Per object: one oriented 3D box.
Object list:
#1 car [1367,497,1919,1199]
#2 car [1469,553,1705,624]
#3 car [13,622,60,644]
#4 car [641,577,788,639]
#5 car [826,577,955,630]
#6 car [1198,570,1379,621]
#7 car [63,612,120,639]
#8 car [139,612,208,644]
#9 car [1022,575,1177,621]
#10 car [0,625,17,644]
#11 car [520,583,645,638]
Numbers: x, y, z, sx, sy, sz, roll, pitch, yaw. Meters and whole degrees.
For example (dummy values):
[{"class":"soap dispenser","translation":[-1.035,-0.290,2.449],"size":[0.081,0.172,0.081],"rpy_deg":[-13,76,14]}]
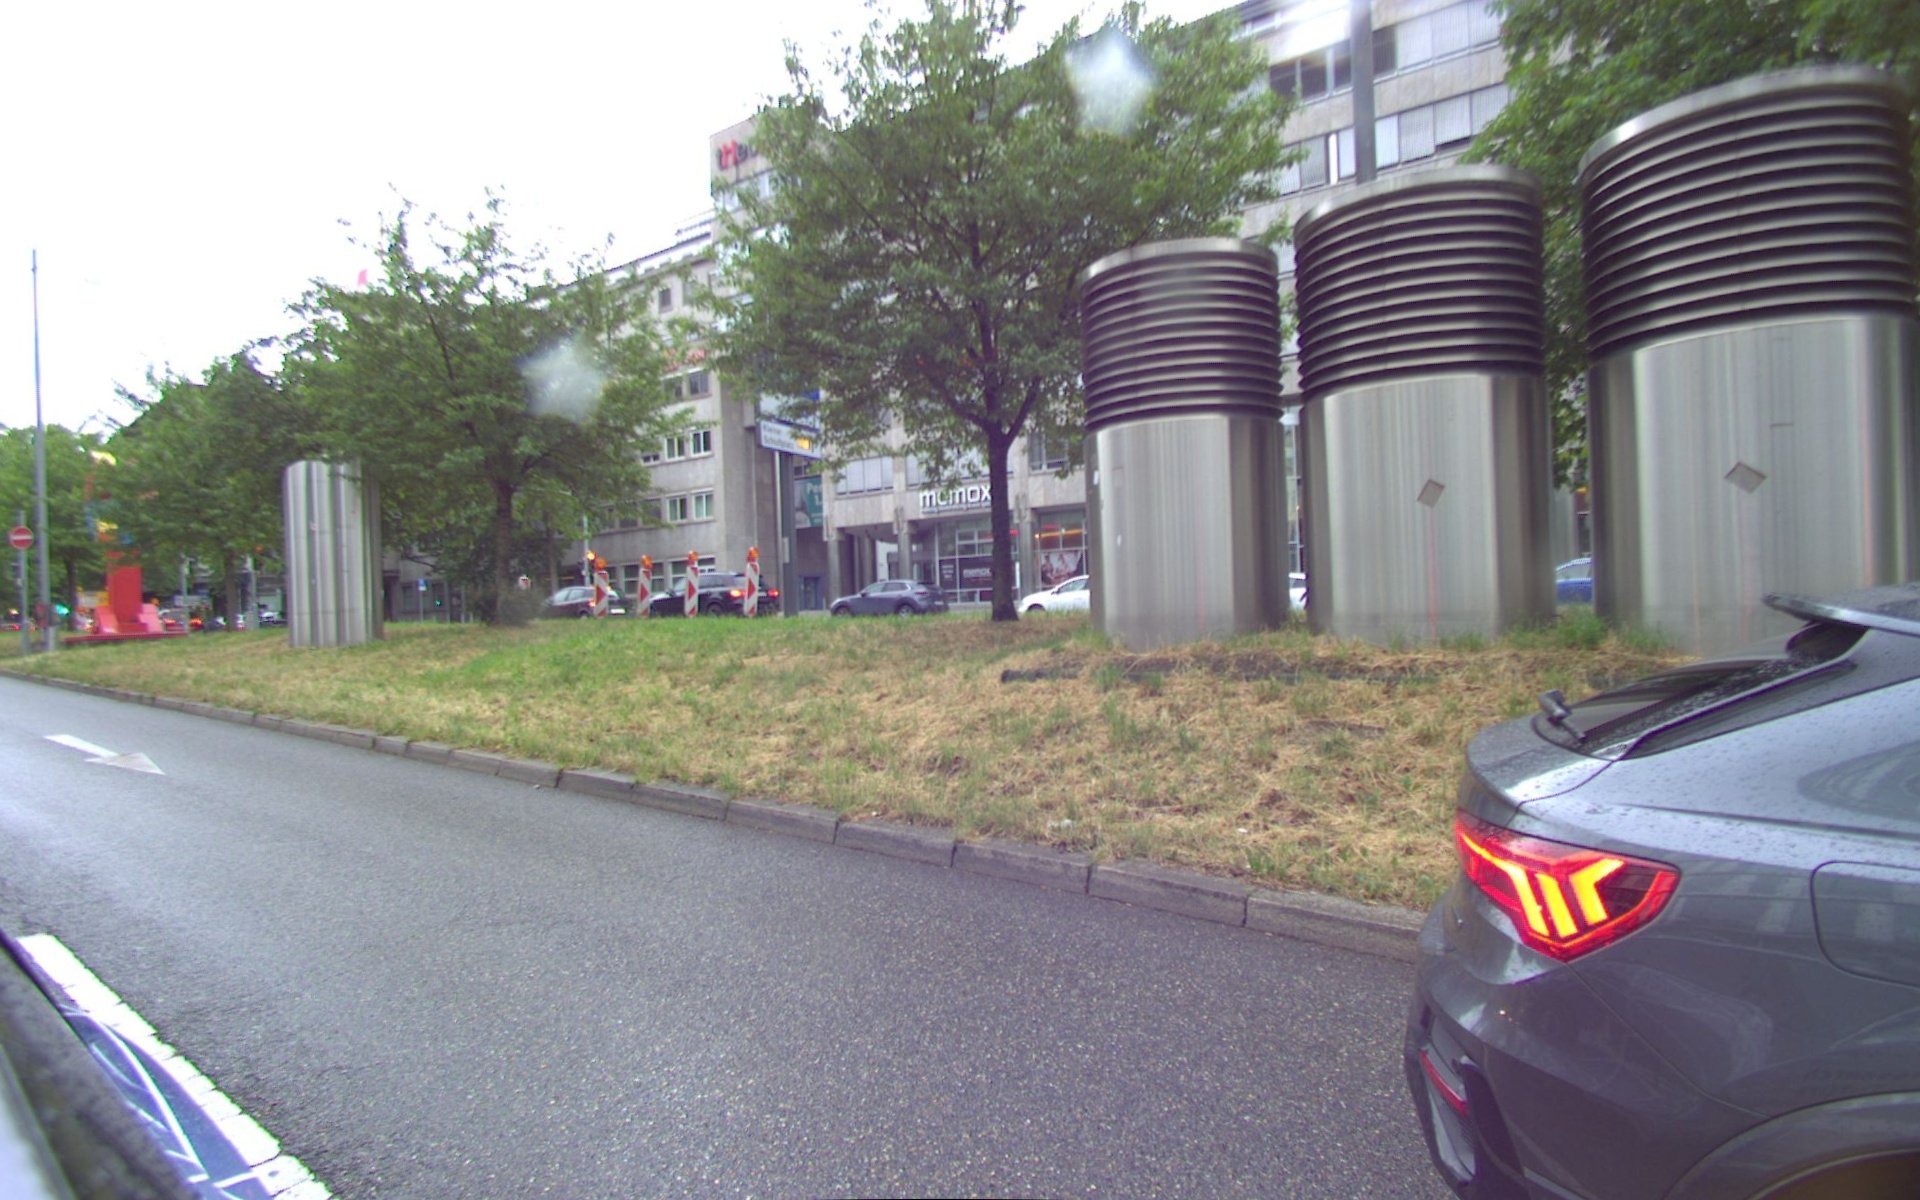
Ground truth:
[{"class":"car","translation":[2.917,0.598,0.978],"size":[4.339,1.529,1.843],"rpy_deg":[-1,0,38]},{"class":"car","translation":[13.848,-0.238,22.557],"size":[4.308,1.395,1.662],"rpy_deg":[-1,2,33]},{"class":"car","translation":[-73.835,2.599,80.876],"size":[4.101,1.599,2.048],"rpy_deg":[-1,2,38]},{"class":"car","translation":[-7.004,0.233,28.734],"size":[4.101,1.592,1.858],"rpy_deg":[-1,2,38]},{"class":"car","translation":[-2.335,0.127,33.447],"size":[4.096,1.592,1.558],"rpy_deg":[-1,2,33]},{"class":"car","translation":[8.322,-0.099,25.775],"size":[4.096,1.130,1.558],"rpy_deg":[-1,2,33]},{"class":"car","translation":[-58.084,1.713,67.661],"size":[4.101,1.599,2.048],"rpy_deg":[-1,2,38]},{"class":"car","translation":[-43.775,1.528,56.301],"size":[4.101,1.599,2.048],"rpy_deg":[-1,2,38]},{"class":"car","translation":[3.951,-0.044,28.856],"size":[4.096,1.130,1.558],"rpy_deg":[-1,2,33]},{"class":"car","translation":[-88.197,3.174,92.649],"size":[4.101,1.599,2.048],"rpy_deg":[-1,2,38]},{"class":"car","translation":[-12.229,0.331,32.729],"size":[4.101,1.592,1.858],"rpy_deg":[-1,2,38]}]
